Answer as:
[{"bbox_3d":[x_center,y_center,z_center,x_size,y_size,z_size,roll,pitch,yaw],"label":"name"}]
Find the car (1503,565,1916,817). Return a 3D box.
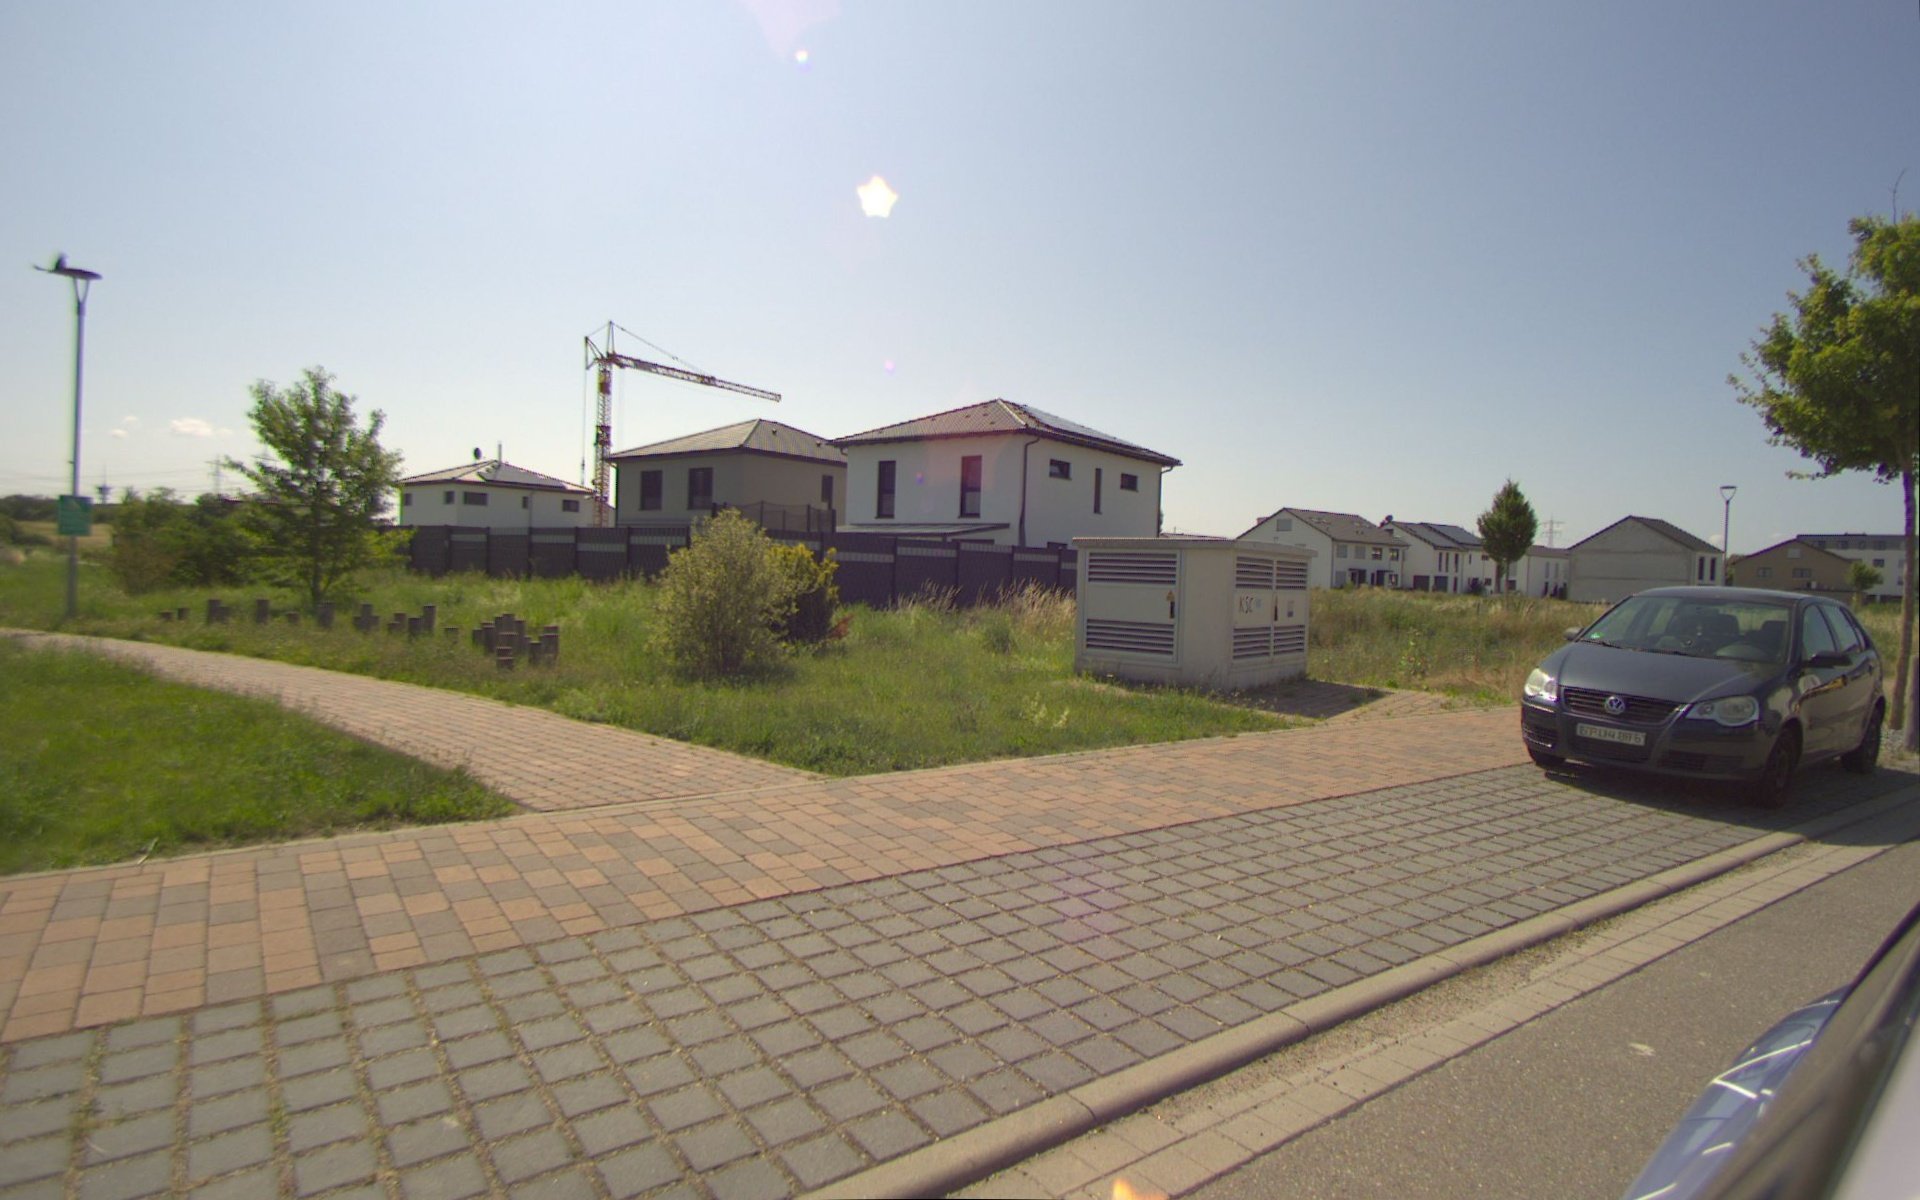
[{"bbox_3d":[6.012,0.561,7.999,3.607,1.493,1.604,1,4,-37],"label":"car"}]
